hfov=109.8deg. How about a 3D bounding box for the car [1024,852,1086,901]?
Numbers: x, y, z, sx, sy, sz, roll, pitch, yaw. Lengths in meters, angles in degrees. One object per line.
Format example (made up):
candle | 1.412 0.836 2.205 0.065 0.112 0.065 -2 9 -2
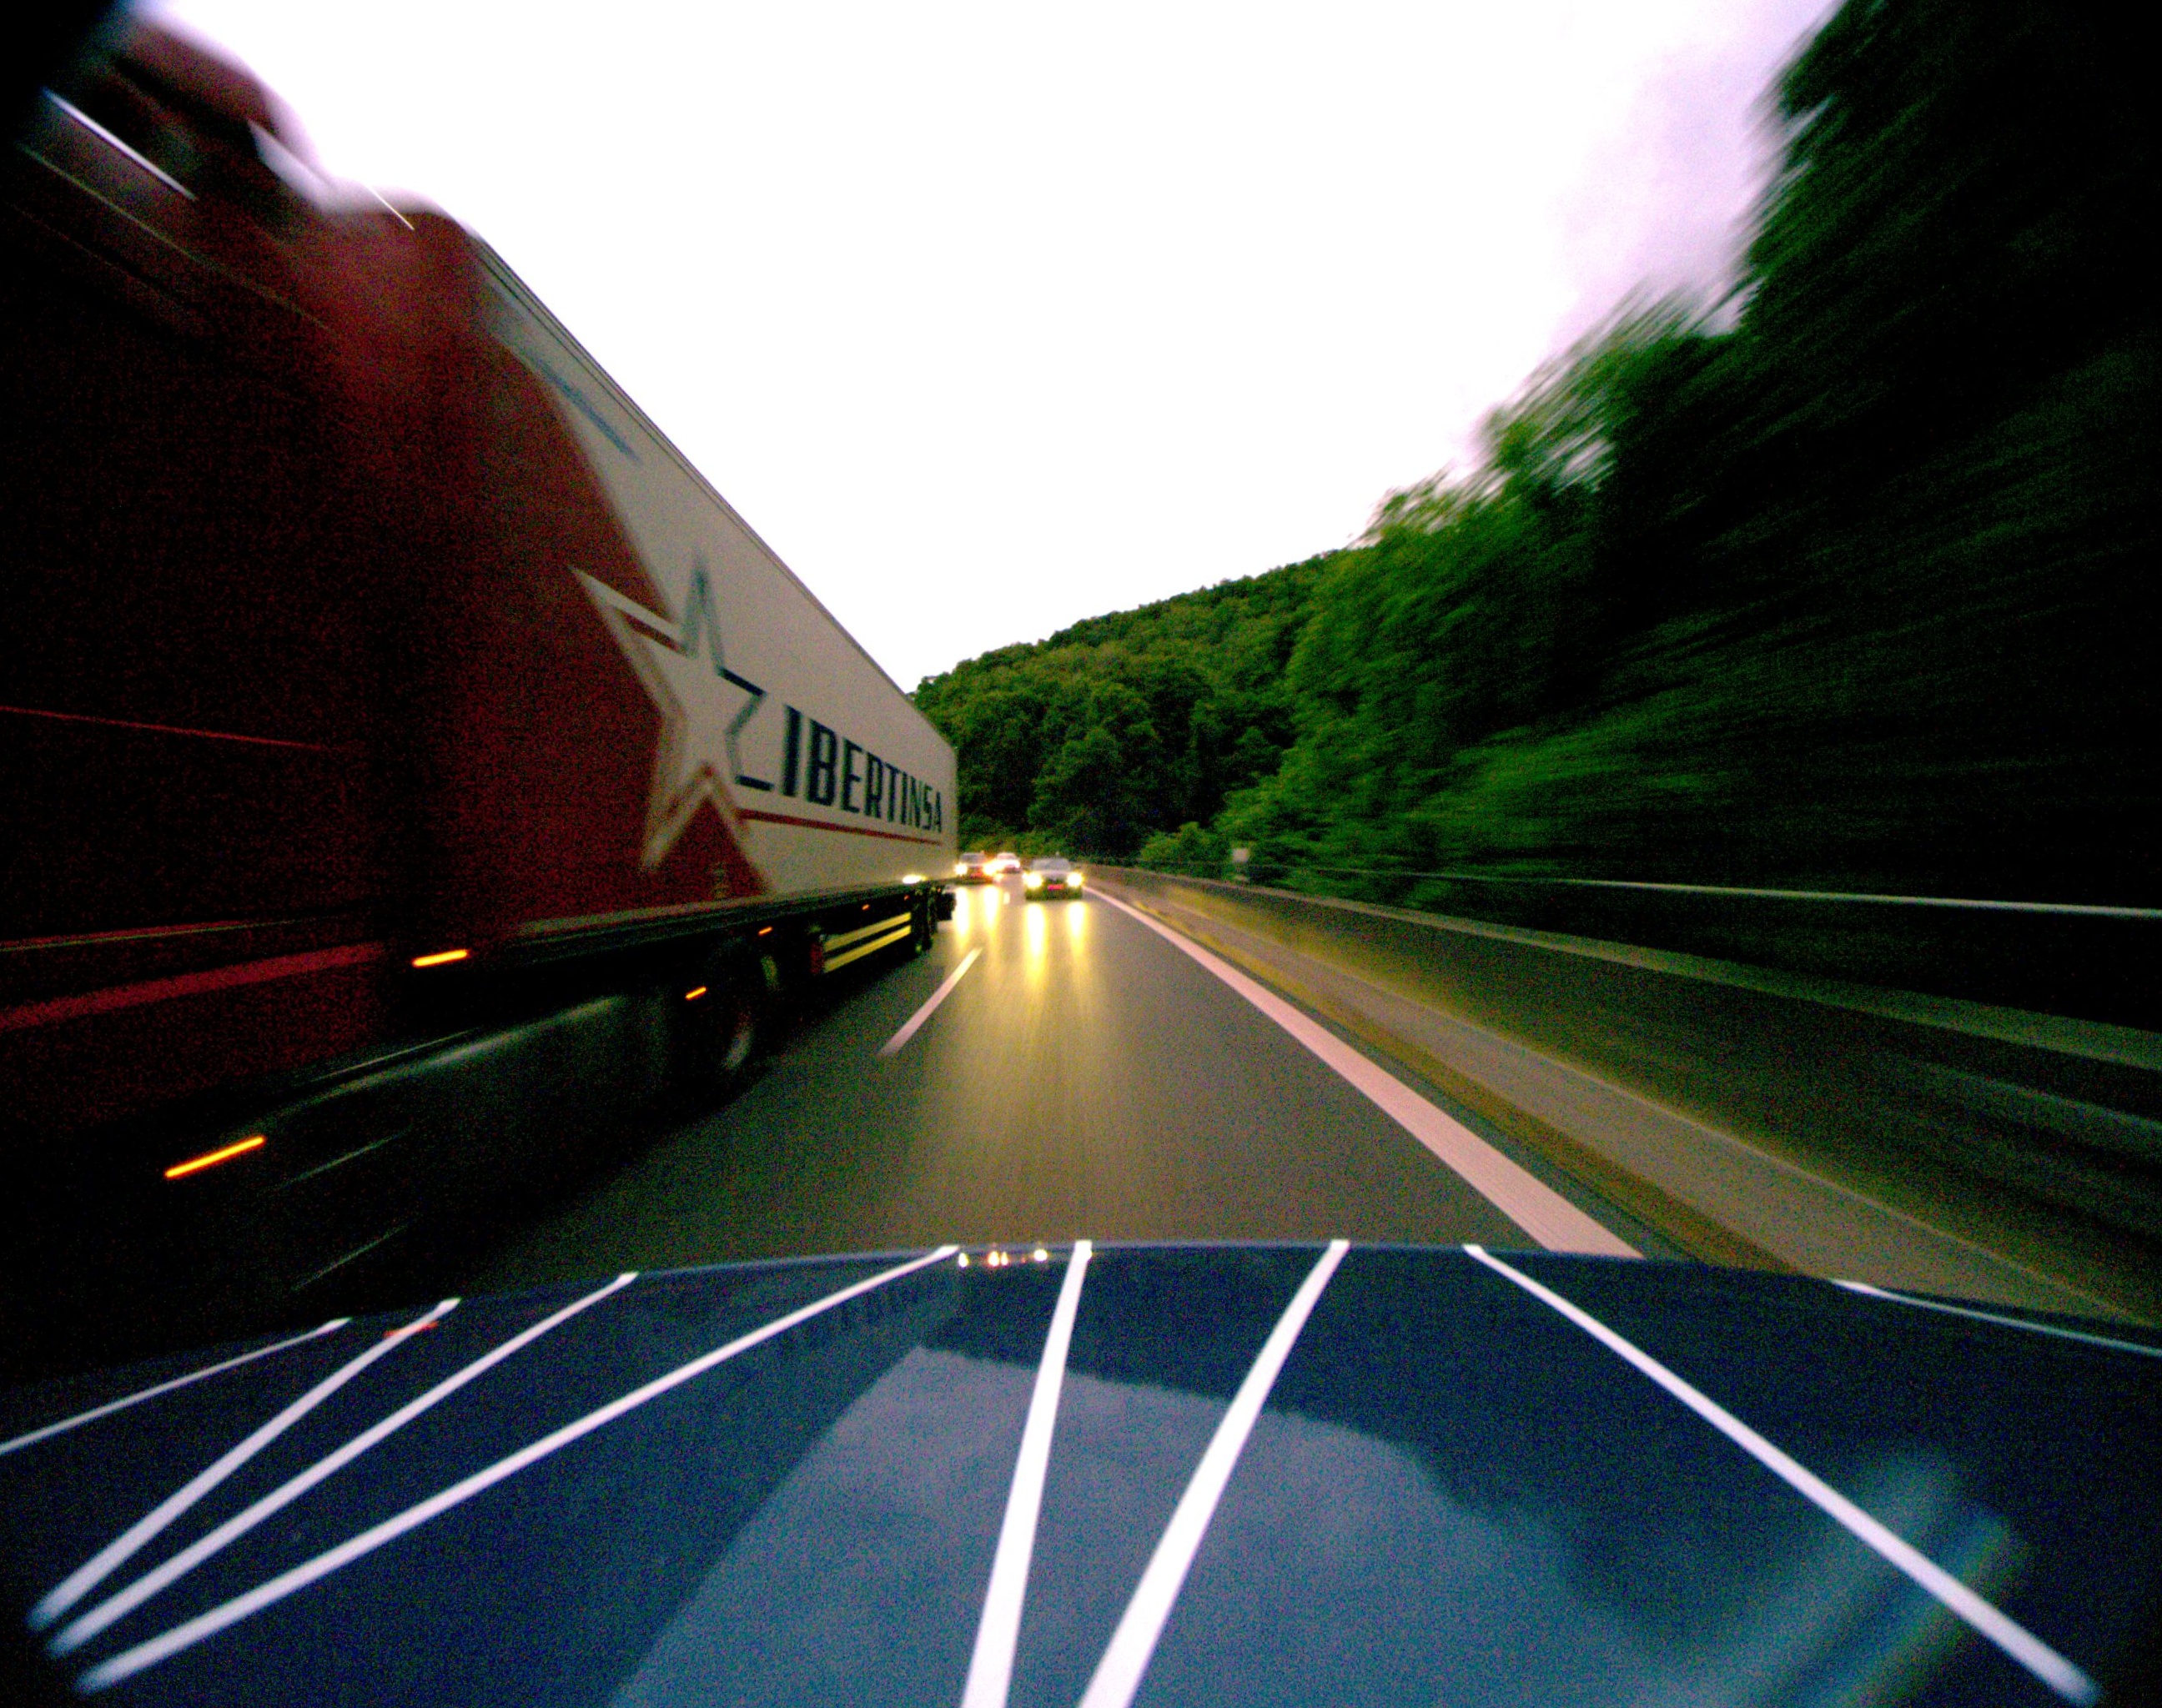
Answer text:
car | -0.961 0.734 26.893 1.999 1.499 3.998 -1 1 -3

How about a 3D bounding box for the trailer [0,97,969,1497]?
trailer | -3.874 -0.207 9.238 3.105 3.947 14.214 0 1 -1

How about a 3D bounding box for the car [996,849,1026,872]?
car | -5.285 0.457 57.043 2.000 1.499 3.997 3 0 -8

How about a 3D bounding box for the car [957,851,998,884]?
car | -5.579 0.662 40.441 2.000 1.630 3.996 0 1 -10

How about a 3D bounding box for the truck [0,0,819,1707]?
truck | -3.750 -0.277 3.154 3.077 4.120 6.446 1 0 0
